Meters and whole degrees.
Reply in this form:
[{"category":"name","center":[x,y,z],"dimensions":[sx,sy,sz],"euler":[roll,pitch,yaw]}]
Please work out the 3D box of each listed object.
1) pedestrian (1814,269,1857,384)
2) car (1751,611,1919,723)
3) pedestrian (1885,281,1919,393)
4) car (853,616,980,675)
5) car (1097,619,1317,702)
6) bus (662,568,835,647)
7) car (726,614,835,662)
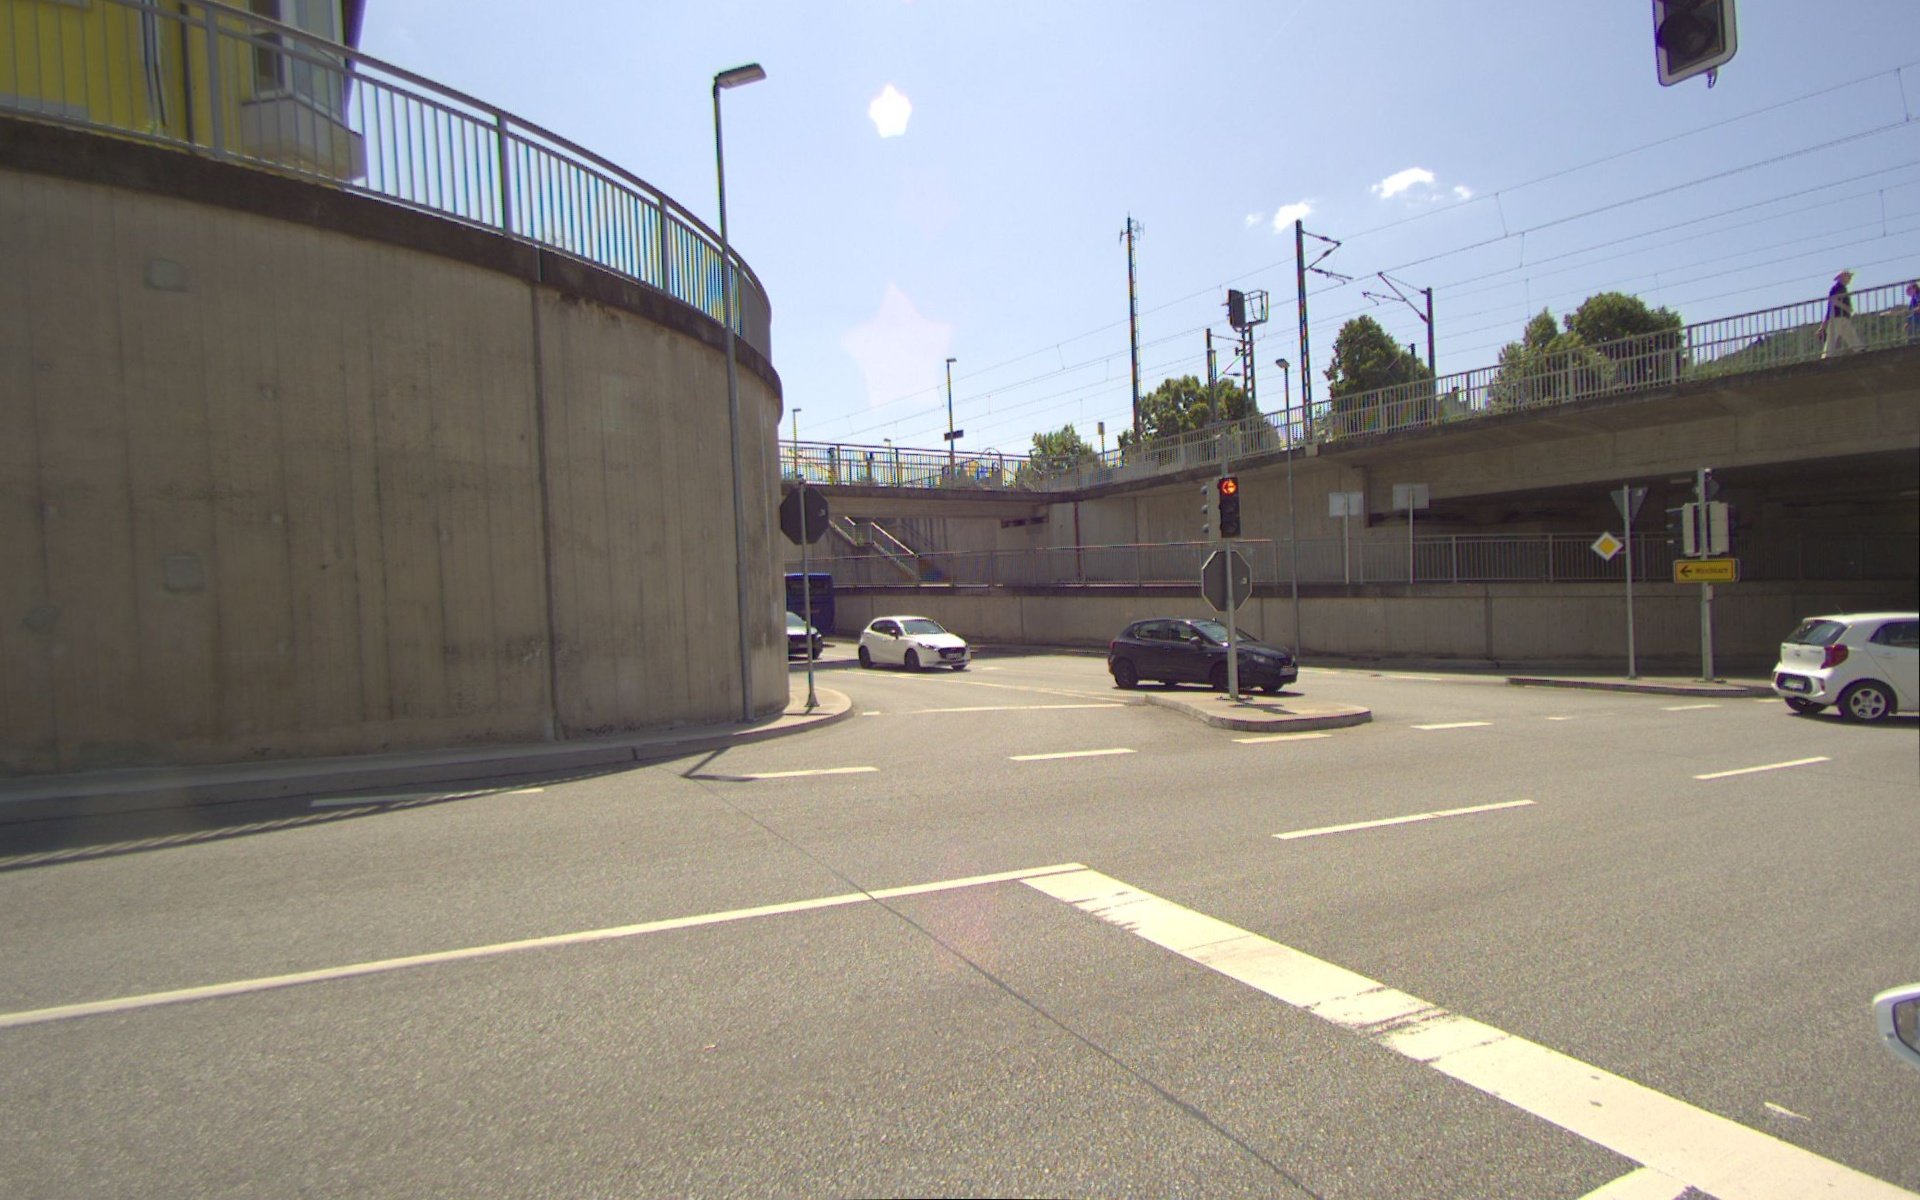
[{"category":"pedestrian","center":[17.763,-5.524,20.377],"dimensions":[0.531,2.108,0.571],"euler":[1,-1,-40]},{"category":"car","center":[13.781,0.894,14.020],"dimensions":[3.920,1.439,1.731],"euler":[-1,1,17]},{"category":"pedestrian","center":[19.664,-5.447,20.868],"dimensions":[0.530,2.108,0.535],"euler":[1,-1,-36]},{"category":"car","center":[-1.286,1.214,28.098],"dimensions":[1.711,1.451,3.871],"euler":[-2,1,-36]},{"category":"car","center":[4.767,1.103,19.833],"dimensions":[1.753,1.393,3.953],"euler":[-2,1,-40]},{"category":"bus","center":[-10.102,0.320,46.432],"dimensions":[2.567,3.215,12.238],"euler":[-2,1,-39]},{"category":"car","center":[-6.299,1.298,34.991],"dimensions":[1.983,1.493,4.080],"euler":[-2,0,-39]}]
